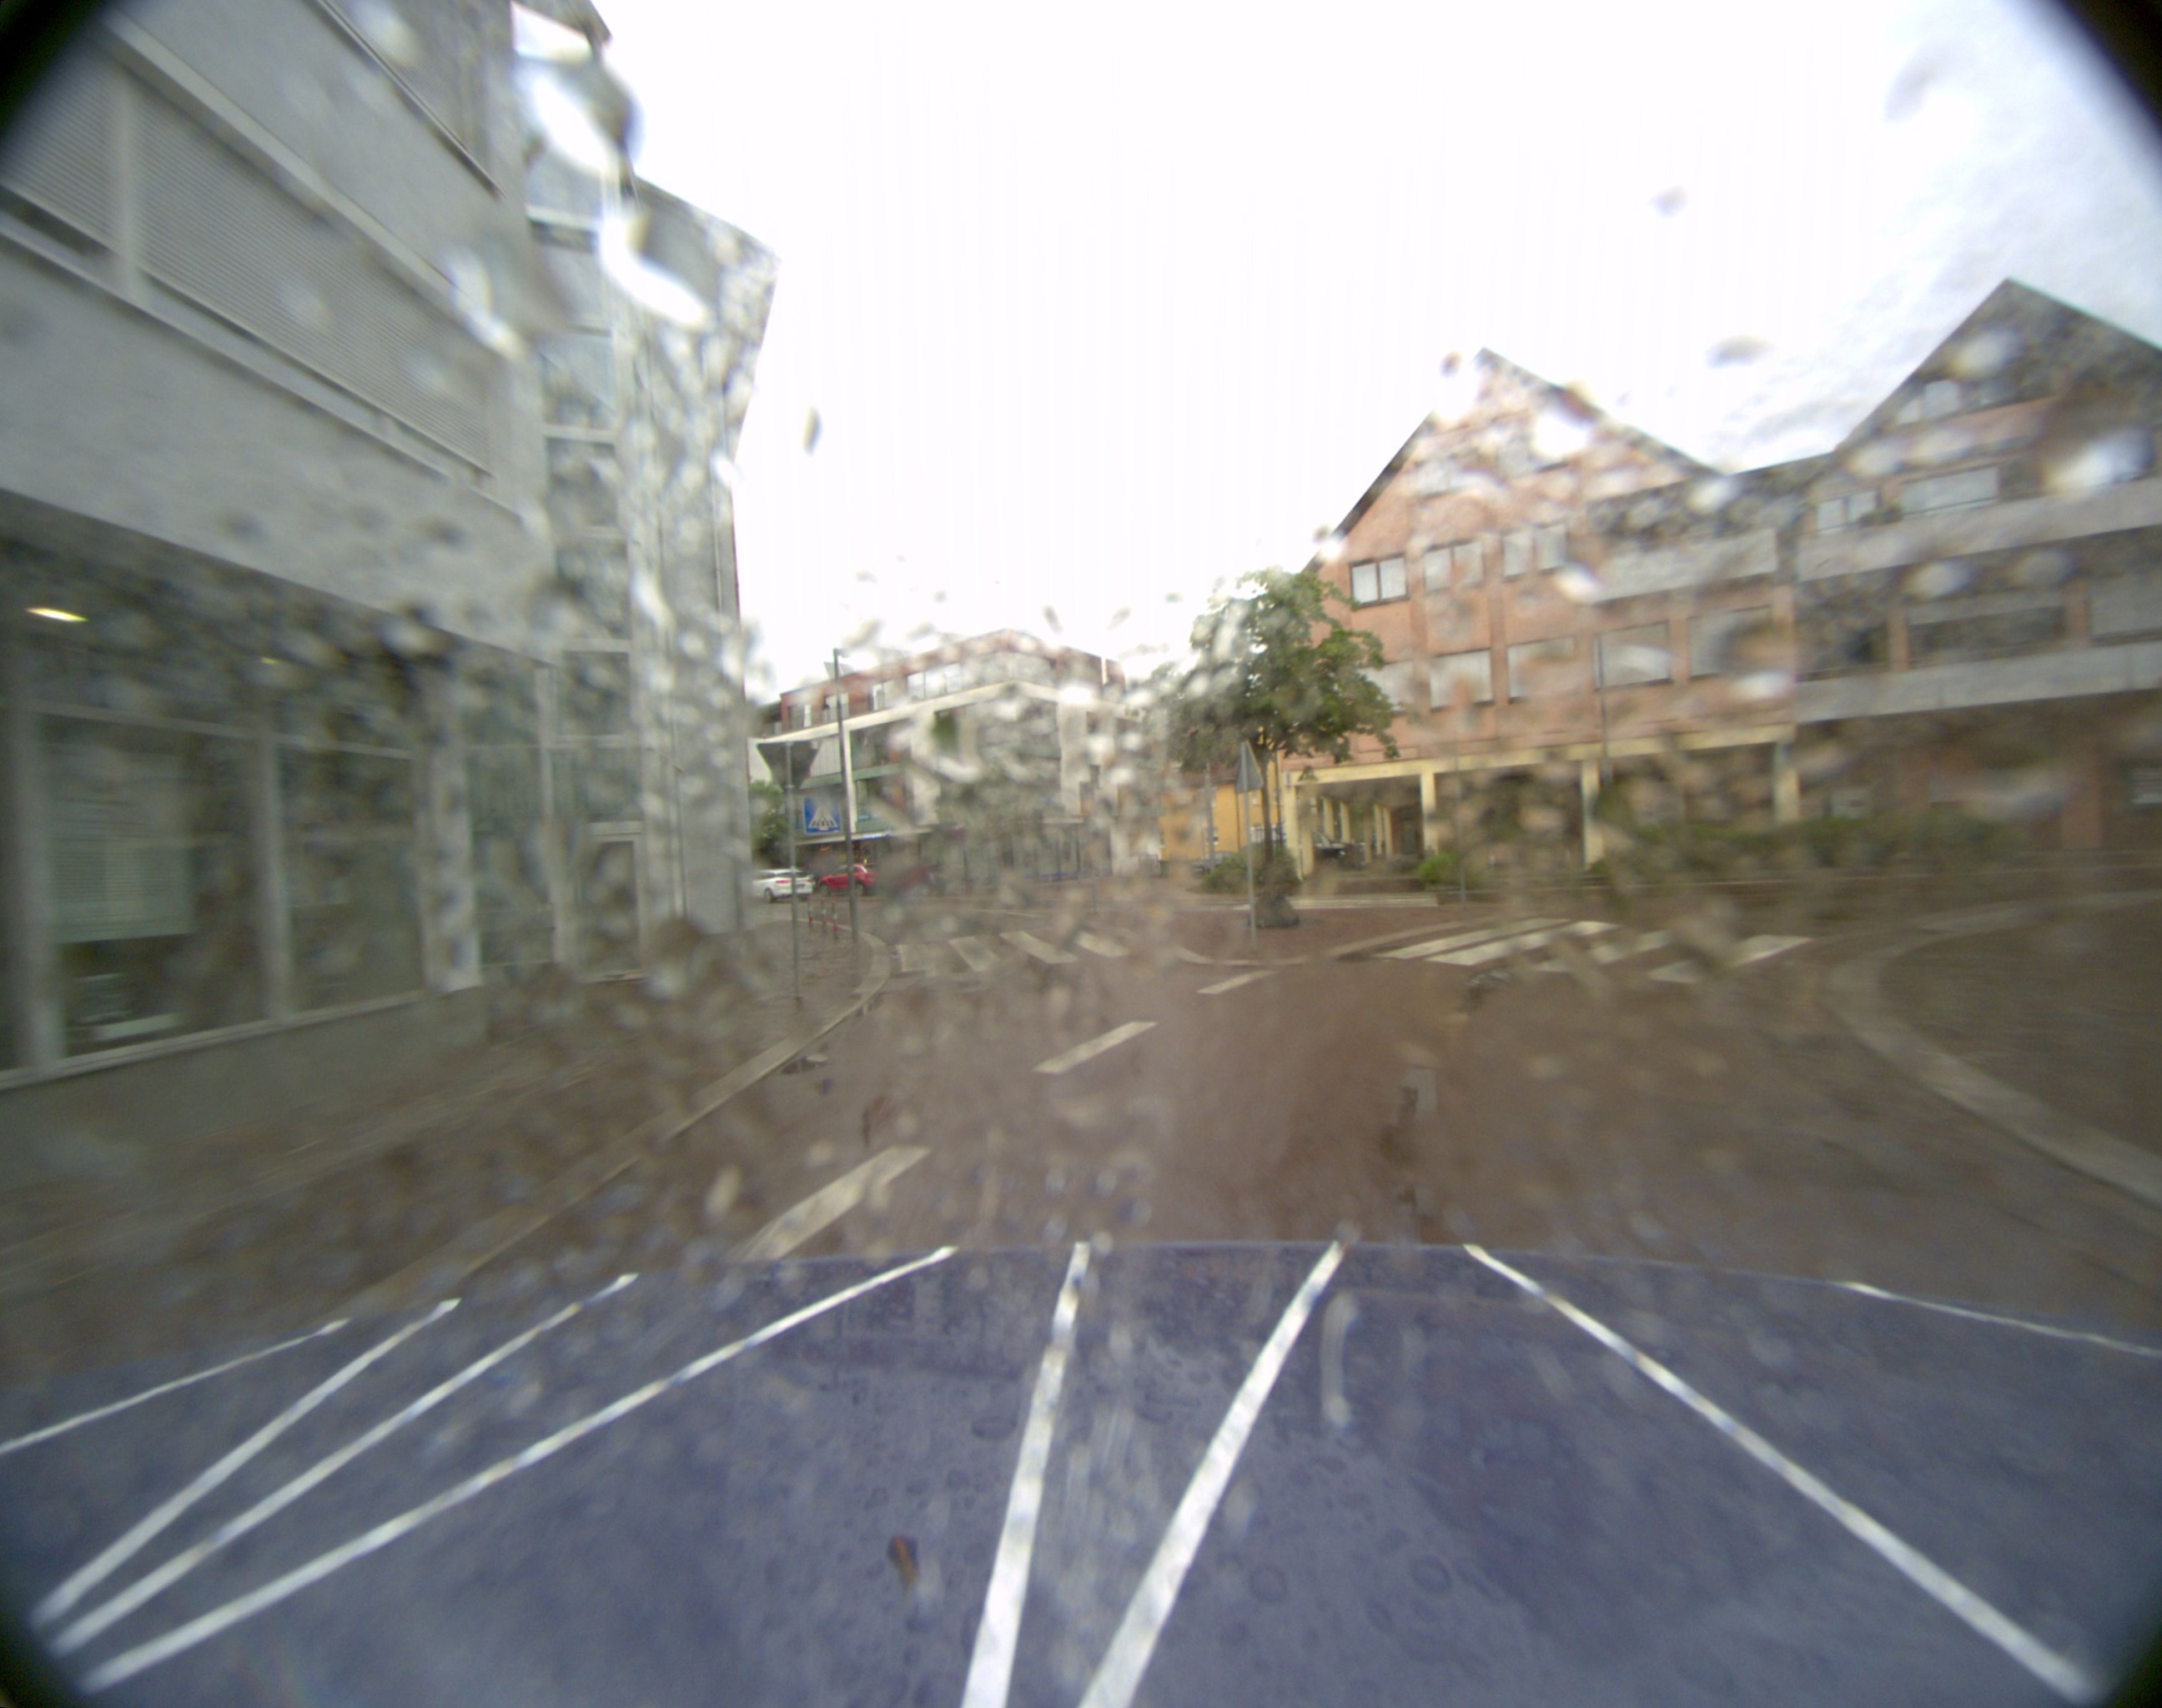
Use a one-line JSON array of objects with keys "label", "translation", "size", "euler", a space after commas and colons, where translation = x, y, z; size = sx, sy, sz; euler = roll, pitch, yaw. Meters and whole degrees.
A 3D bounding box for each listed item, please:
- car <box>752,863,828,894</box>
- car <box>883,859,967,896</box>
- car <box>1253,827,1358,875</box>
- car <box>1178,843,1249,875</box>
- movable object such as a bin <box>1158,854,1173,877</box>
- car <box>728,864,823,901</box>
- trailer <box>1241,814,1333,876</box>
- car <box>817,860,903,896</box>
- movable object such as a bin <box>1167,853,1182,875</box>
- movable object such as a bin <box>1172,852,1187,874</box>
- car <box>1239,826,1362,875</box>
[{"label": "car", "translation": [-15.456, 1.302, 40.297], "size": [3.851, 1.386, 1.729], "euler": [-3, 2, 33]}, {"label": "car", "translation": [-6.935, 1.060, 33.649], "size": [3.576, 1.428, 1.683], "euler": [-2, 3, 39]}, {"label": "car", "translation": [9.841, -0.116, 33.281], "size": [3.991, 1.661, 1.839], "euler": [-7, -2, 27]}, {"label": "car", "translation": [7.742, 0.272, 44.100], "size": [1.995, 1.500, 4.551], "euler": [-2, 2, 39]}, {"label": "movable object such as a bin", "translation": [4.786, 0.648, 43.024], "size": [0.630, 1.226, 0.524], "euler": [-2, 3, 38]}, {"label": "car", "translation": [-13.921, 1.291, 34.490], "size": [4.850, 1.482, 1.928], "euler": [-3, 1, 41]}, {"label": "trailer", "translation": [8.280, -0.337, 30.513], "size": [3.086, 2.075, 1.839], "euler": [-7, -2, 27]}, {"label": "car", "translation": [-10.730, 1.168, 36.822], "size": [3.911, 1.546, 1.806], "euler": [-3, 2, 35]}, {"label": "movable object such as a bin", "translation": [5.382, 0.572, 43.813], "size": [0.630, 1.226, 0.524], "euler": [-2, 3, 38]}, {"label": "movable object such as a bin", "translation": [5.750, 0.506, 44.335], "size": [0.630, 1.226, 0.524], "euler": [-2, 3, 38]}, {"label": "car", "translation": [8.073, -0.113, 27.981], "size": [3.990, 1.500, 1.838], "euler": [-3, 2, 27]}]
